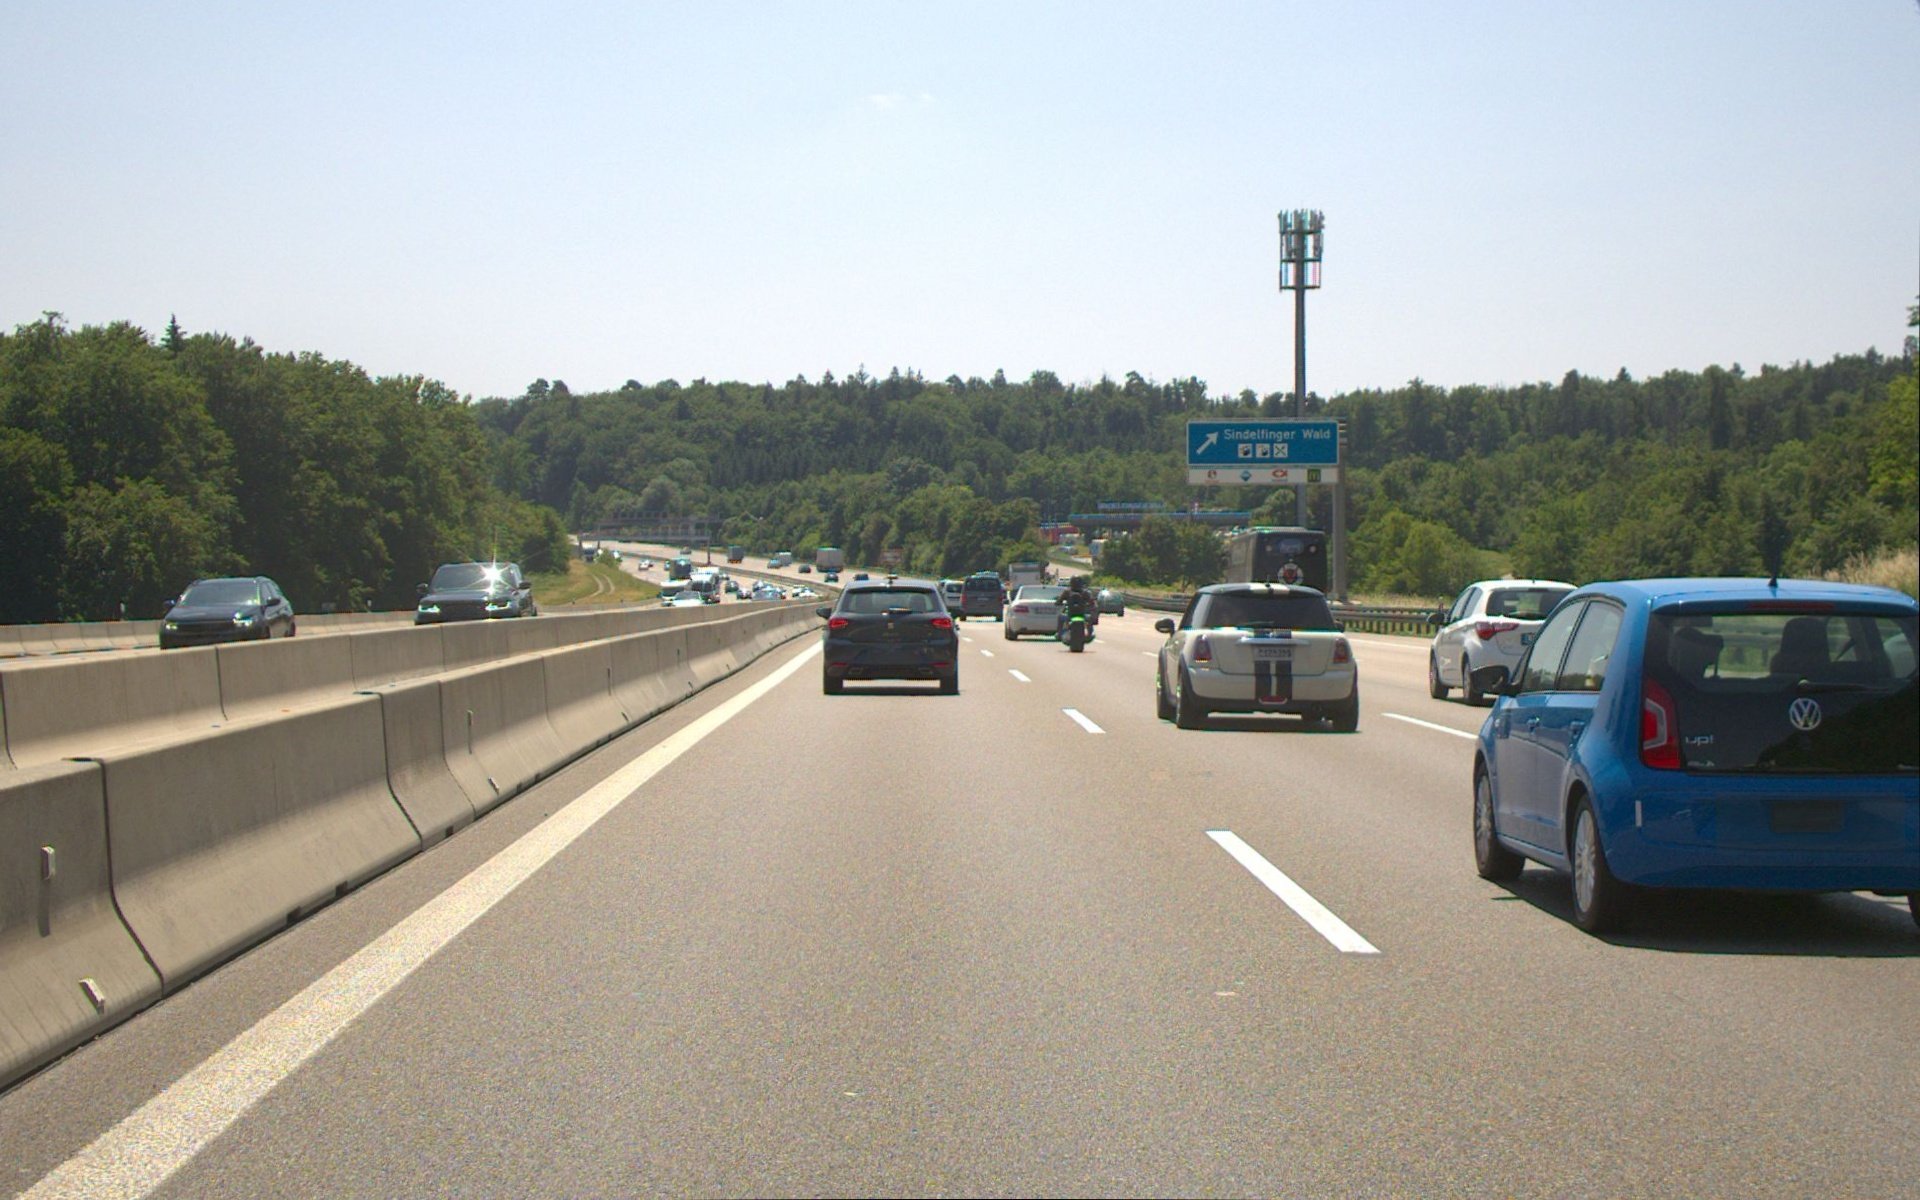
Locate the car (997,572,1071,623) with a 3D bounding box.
[{"bbox_3d":[1.922,-0.079,90.144,1.782,1.261,3.460,0,1,-1],"label":"car"}]

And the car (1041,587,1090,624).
[{"bbox_3d":[4.290,0.217,140.288,1.675,1.427,3.685,0,1,-4],"label":"car"}]

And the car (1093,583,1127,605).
[{"bbox_3d":[8.423,-0.317,193.210,1.608,1.208,3.460,-1,0,-2],"label":"car"}]

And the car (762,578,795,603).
[{"bbox_3d":[-10.680,-0.569,202.811,1.838,1.436,4.845,0,0,-2],"label":"car"}]

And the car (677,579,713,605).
[{"bbox_3d":[-14.903,-0.434,193.216,1.838,1.436,4.000,0,0,-2],"label":"car"}]

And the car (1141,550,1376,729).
[{"bbox_3d":[2.867,0.382,33.773,1.841,1.547,4.000,3,-1,0],"label":"car"}]

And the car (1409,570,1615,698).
[{"bbox_3d":[6.656,0.373,41.842,1.666,1.428,4.376,0,1,-2],"label":"car"}]

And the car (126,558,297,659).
[{"bbox_3d":[-13.478,0.112,62.178,1.993,1.669,5.281,-2,1,-1],"label":"car"}]

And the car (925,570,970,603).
[{"bbox_3d":[-0.693,-0.757,186.122,1.993,1.678,4.424,1,1,-5],"label":"car"}]

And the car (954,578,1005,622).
[{"bbox_3d":[0.848,-0.003,151.568,2.097,1.845,4.081,0,1,-2],"label":"car"}]

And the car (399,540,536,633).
[{"bbox_3d":[-9.621,-0.279,67.566,1.993,1.667,5.281,-3,1,-1],"label":"car"}]

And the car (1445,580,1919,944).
[{"bbox_3d":[3.346,0.619,15.374,1.737,1.406,4.000,0,0,-1],"label":"car"}]

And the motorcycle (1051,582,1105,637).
[{"bbox_3d":[2.503,0.198,73.151,0.977,1.125,2.271,0,1,-2],"label":"motorcycle"}]

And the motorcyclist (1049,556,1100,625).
[{"bbox_3d":[2.434,-0.200,73.138,0.962,1.433,1.235,-1,0,-3],"label":"motorcyclist"}]

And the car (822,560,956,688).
[{"bbox_3d":[-0.893,0.268,43.850,1.624,1.482,3.685,1,2,-1],"label":"car"}]

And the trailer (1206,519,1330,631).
[{"bbox_3d":[10.728,-0.814,120.935,2.857,3.675,13.543,-1,0,-1],"label":"trailer"}]

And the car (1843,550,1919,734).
[{"bbox_3d":[10.000,0.422,32.527,1.801,1.725,5.240,1,1,-1],"label":"car"}]
